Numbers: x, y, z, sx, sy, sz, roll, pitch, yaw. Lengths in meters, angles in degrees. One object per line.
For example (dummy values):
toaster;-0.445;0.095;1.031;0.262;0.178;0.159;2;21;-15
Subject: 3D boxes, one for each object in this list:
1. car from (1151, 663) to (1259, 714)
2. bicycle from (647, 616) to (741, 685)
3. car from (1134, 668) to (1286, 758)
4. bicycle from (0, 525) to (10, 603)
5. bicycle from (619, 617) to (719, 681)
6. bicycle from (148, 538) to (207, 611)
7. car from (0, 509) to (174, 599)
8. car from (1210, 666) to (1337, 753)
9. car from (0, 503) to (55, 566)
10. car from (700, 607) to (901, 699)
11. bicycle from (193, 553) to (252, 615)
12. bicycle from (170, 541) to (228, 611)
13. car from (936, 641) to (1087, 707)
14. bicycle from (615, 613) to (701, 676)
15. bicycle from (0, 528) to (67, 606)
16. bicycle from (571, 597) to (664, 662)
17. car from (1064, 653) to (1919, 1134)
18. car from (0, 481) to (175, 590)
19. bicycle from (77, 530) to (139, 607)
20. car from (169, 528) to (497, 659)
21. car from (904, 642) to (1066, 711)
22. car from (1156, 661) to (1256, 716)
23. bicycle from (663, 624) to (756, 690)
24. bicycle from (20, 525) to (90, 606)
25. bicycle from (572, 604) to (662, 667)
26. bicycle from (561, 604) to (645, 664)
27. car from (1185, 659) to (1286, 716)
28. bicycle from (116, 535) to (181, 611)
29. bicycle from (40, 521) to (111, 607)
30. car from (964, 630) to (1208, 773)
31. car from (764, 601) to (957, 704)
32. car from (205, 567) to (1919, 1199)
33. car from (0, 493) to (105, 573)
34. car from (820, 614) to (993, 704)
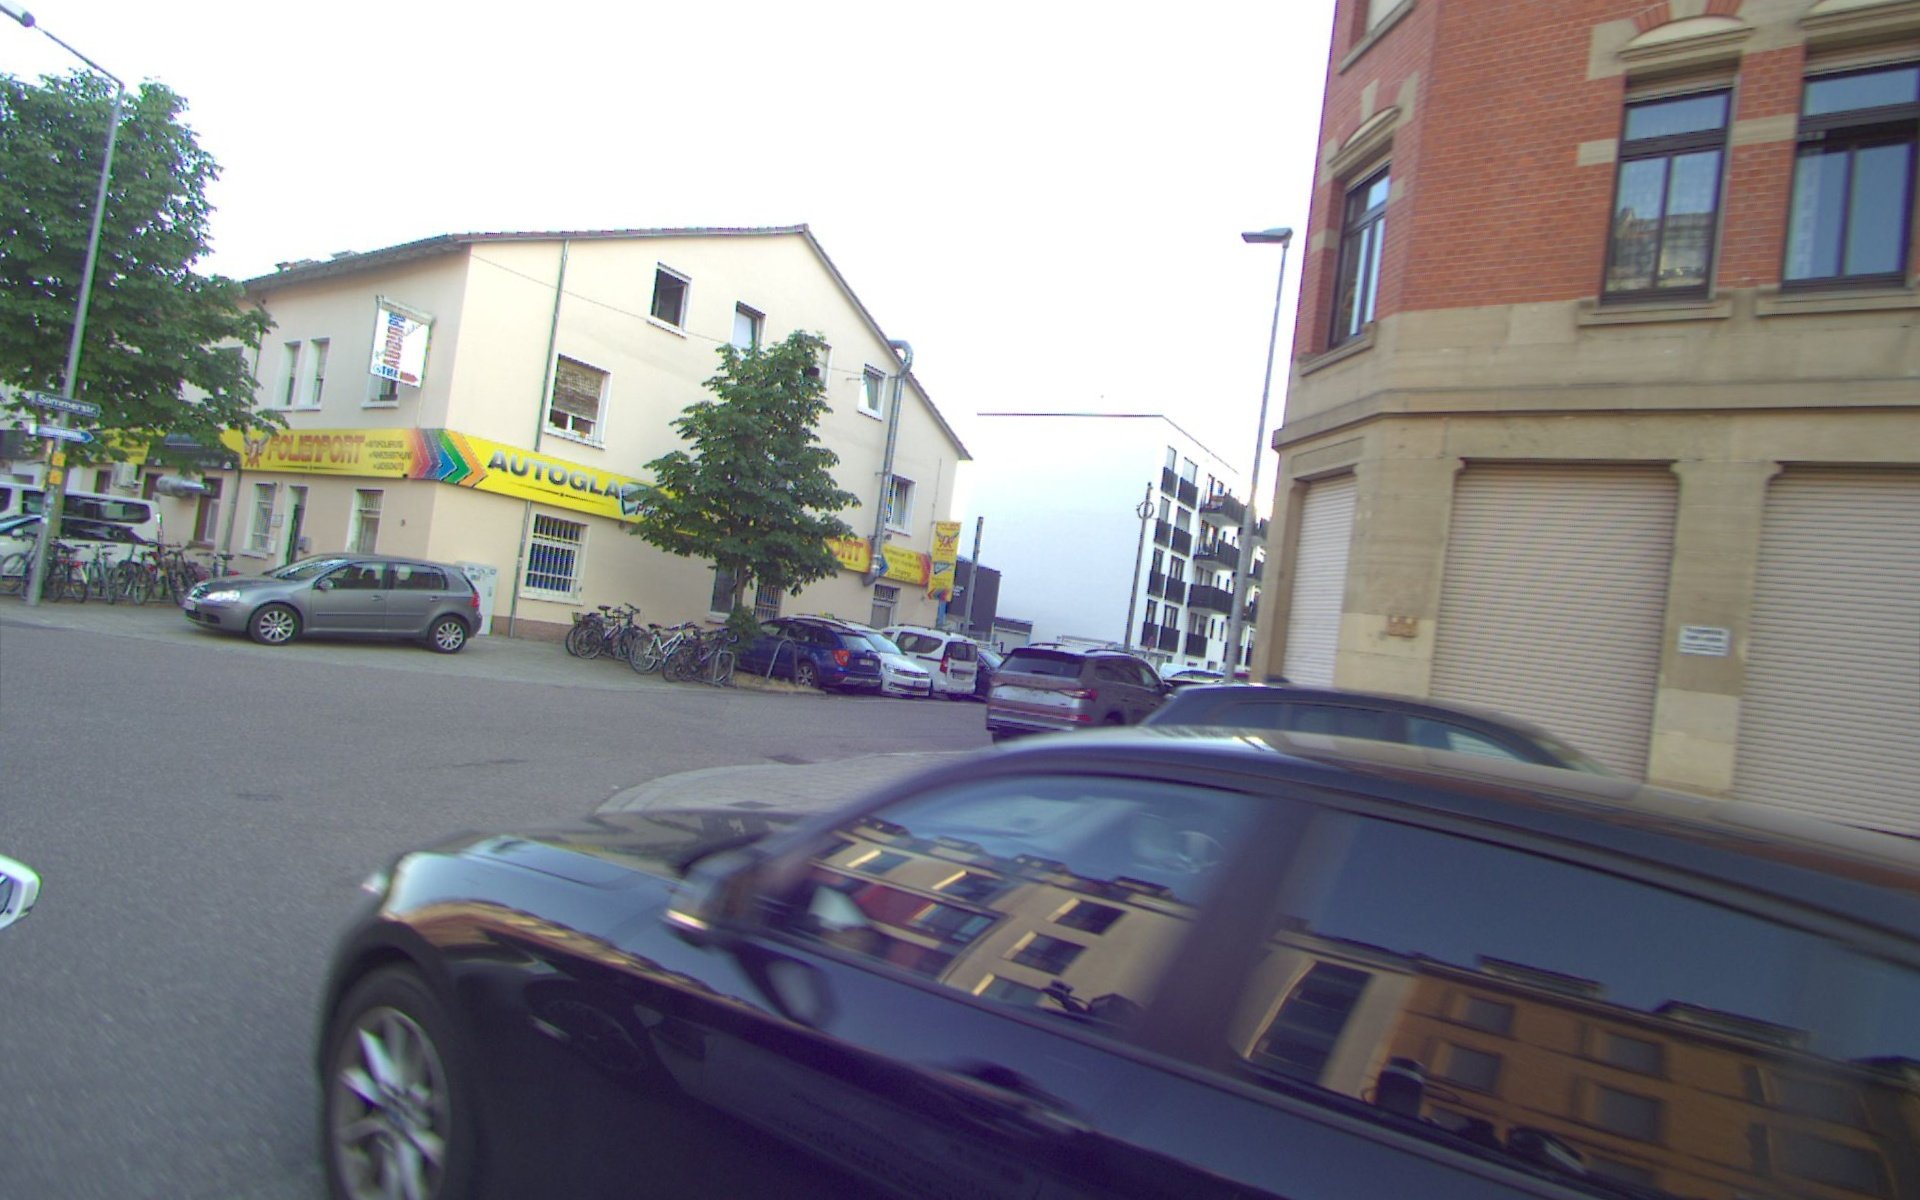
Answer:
car;11.249;4.050;46.235;4.264;1.801;1.958;5;-3;34
bicycle;-5.057;0.997;19.259;0.420;1.140;1.925;8;-3;27
car;5.298;2.359;20.889;1.642;1.493;4.326;5;-3;33
bicycle;-16.094;-0.668;16.430;1.986;1.215;0.386;7;0;36
bicycle;-5.628;0.971;19.543;0.421;1.021;1.852;10;-2;36
bicycle;-14.420;-0.481;18.530;1.458;1.215;0.353;7;0;36
car;-18.476;-0.983;20.125;1.739;1.469;3.922;7;0;33
car;8.022;2.777;25.449;1.849;1.814;4.326;5;-3;33
car;-26.816;-1.949;26.606;1.909;1.544;3.912;6;-1;36
car;-3.767;1.215;23.464;4.499;1.526;1.744;6;-2;33
bicycle;-14.098;-0.312;19.229;1.458;1.029;0.388;7;0;36
bicycle;-14.279;-0.461;18.872;1.458;1.157;0.353;7;0;36
car;1.576;2.295;31.413;4.264;1.554;1.875;5;-3;34
bicycle;-5.973;0.907;19.946;0.338;1.053;1.605;10;-2;36
bicycle;-15.720;-0.575;17.030;1.986;1.127;0.386;7;0;36
bicycle;-7.316;0.650;21.578;0.338;1.161;1.863;10;-2;36
car;2.974;1.311;5.619;4.353;1.441;1.727;6;-1;34
car;-20.559;-1.528;21.860;2.185;2.007;4.991;7;-1;35
bicycle;-15.029;-0.562;17.730;1.458;1.215;0.386;7;0;36
car;-9.969;-0.036;16.284;1.729;1.532;4.052;9;0;36
car;0.687;2.182;28.852;4.264;1.461;1.789;5;-3;34
car;12.194;4.389;49.999;4.268;2.193;1.873;4;-3;37
bicycle;-4.701;1.102;19.016;0.420;1.087;1.856;10;-2;27
bicycle;-15.538;-0.611;17.256;1.986;1.215;0.386;7;0;36
bicycle;-6.988;0.747;20.567;0.338;1.082;1.735;10;-2;34
bicycle;-7.323;0.711;20.684;0.338;1.031;1.606;10;-2;34
car;14.895;4.737;54.541;4.747;2.513;1.875;5;-3;34
bicycle;-14.675;-0.500;18.185;1.458;1.215;0.445;7;0;36
bicycle;-15.389;-0.650;17.476;1.986;1.320;0.386;7;0;36
car;2.076;1.553;15.295;1.849;1.691;4.326;5;-3;33
car;-2.553;1.289;25.348;4.504;1.852;1.875;8;-1;34
car;0.305;0.931;2.151;4.186;1.439;1.725;6;-4;35
car;-24.706;-1.861;24.916;2.017;1.763;4.945;6;-1;36
car;-1.486;1.579;27.396;4.264;1.923;1.875;5;-3;34
